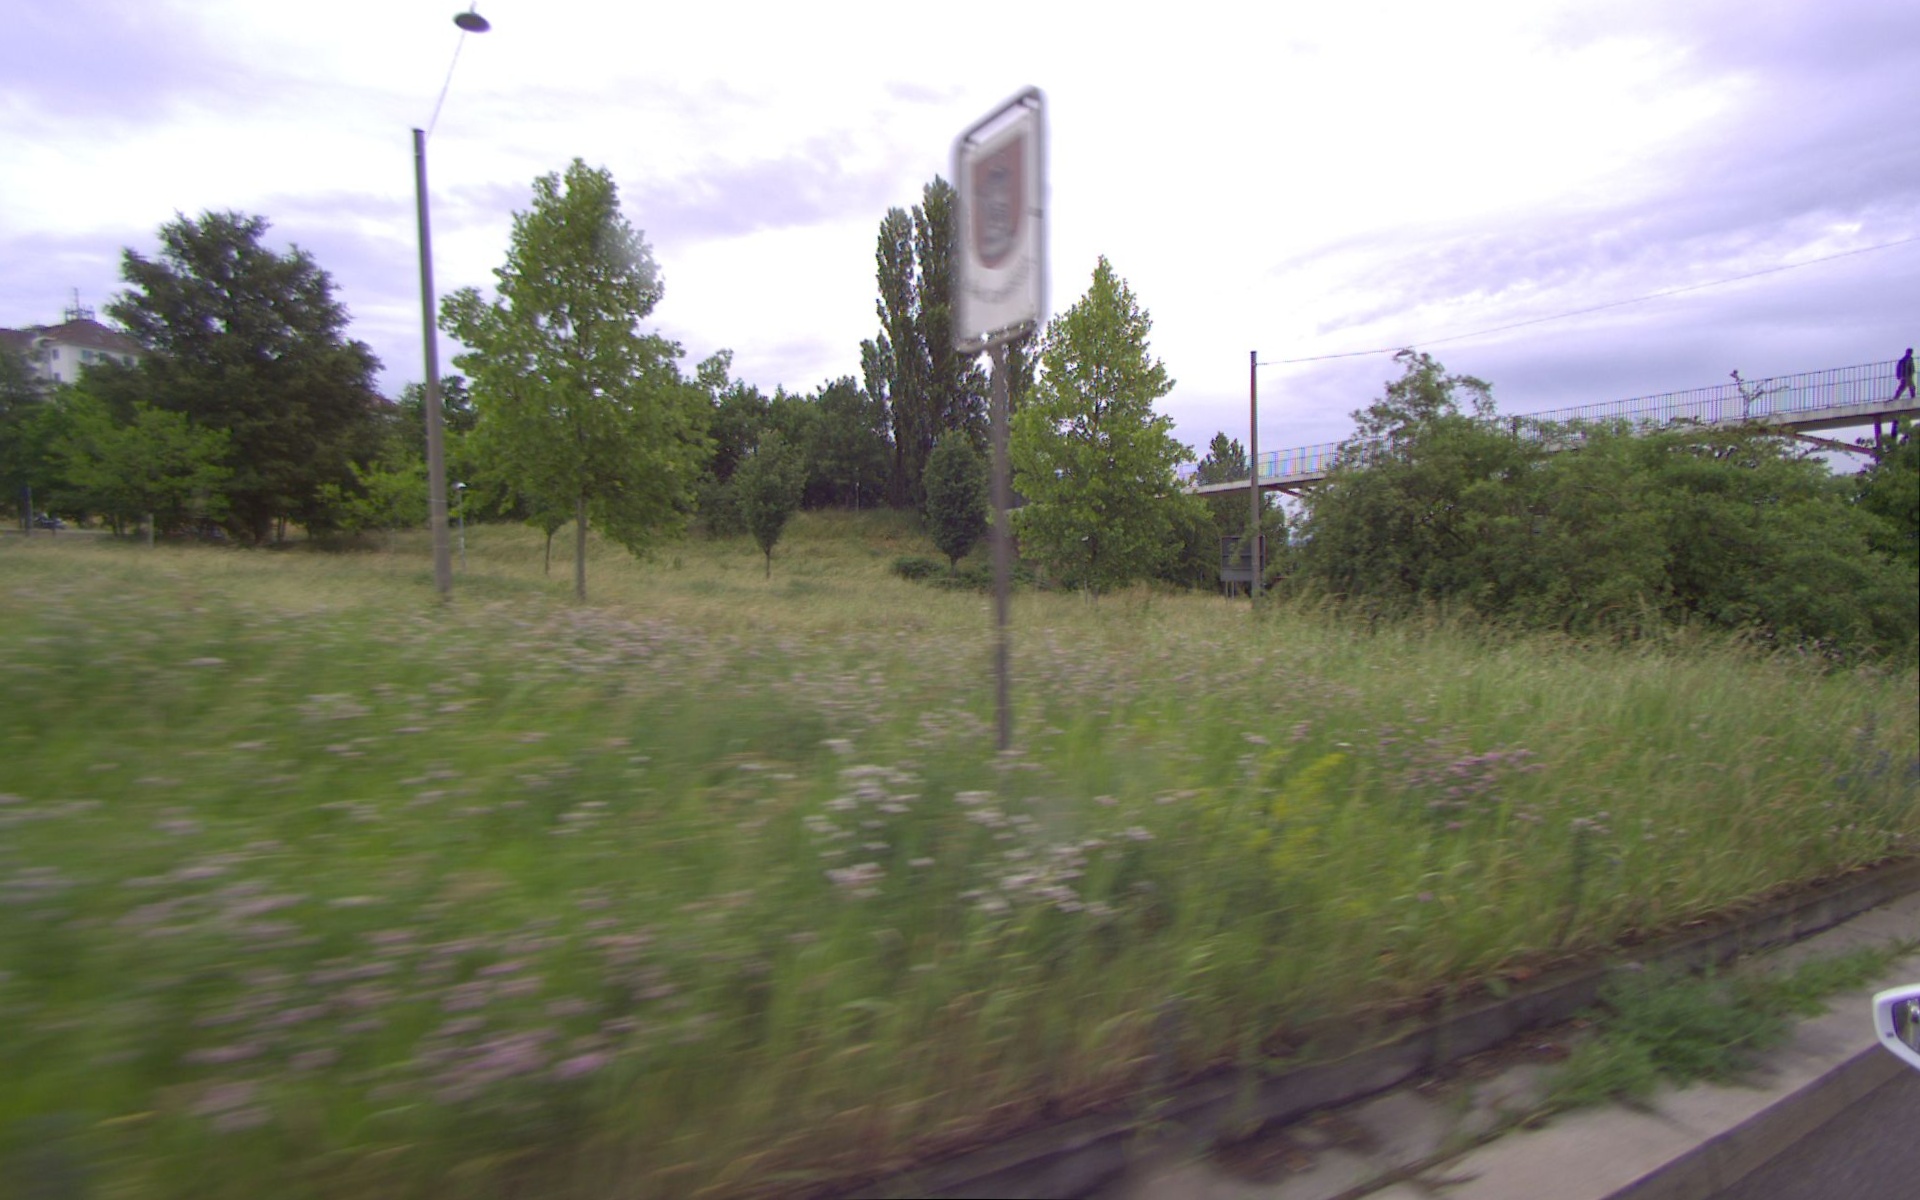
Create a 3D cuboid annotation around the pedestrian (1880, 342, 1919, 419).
[{"bbox_3d":[30.135,-7.012,32.118,0.725,2.171,0.908,1,-2,-37],"label":"pedestrian"}]
